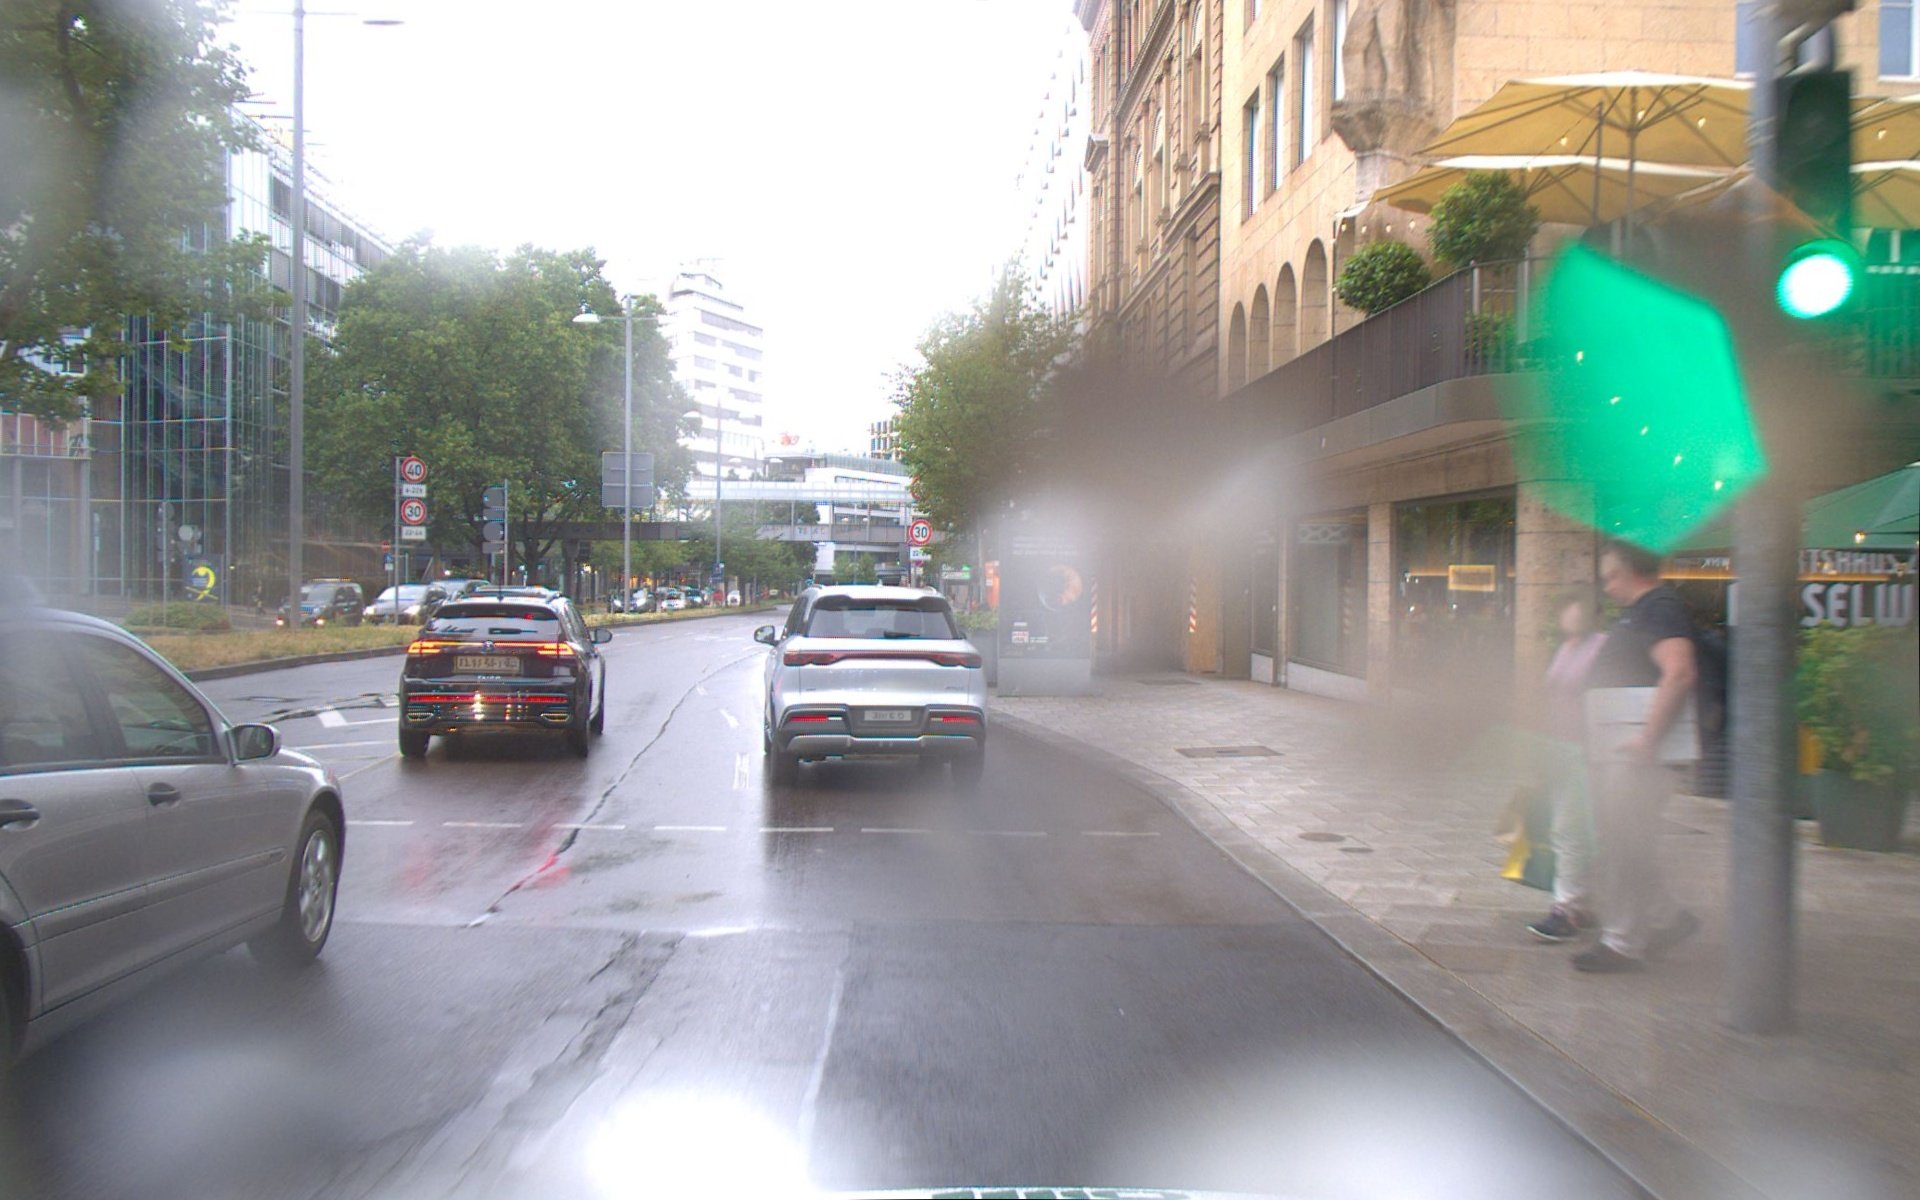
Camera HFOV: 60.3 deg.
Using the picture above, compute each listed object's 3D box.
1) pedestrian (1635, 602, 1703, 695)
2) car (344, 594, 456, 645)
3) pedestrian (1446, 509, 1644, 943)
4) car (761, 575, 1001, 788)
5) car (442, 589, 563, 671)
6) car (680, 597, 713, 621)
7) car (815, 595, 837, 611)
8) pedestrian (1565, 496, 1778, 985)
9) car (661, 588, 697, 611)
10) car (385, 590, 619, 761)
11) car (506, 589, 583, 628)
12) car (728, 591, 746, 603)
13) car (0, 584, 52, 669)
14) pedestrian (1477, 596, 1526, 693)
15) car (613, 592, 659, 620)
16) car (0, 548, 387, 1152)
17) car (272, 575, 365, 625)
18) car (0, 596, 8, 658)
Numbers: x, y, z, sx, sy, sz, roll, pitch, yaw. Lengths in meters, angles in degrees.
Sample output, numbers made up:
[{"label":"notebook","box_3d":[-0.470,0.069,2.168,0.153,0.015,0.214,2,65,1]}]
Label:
[{"label":"pedestrian","box_3d":[8.421,0.566,19.658,0.543,1.074,0.545,2,0,0]},{"label":"car","box_3d":[-16.132,0.563,47.830,1.711,1.388,3.945,1,-1,3]},{"label":"pedestrian","box_3d":[2.659,0.548,7.540,0.583,1.867,0.623,1,-1,-29]},{"label":"car","box_3d":[-0.827,0.666,14.937,1.865,1.650,3.994,1,-1,-6]},{"label":"car","box_3d":[-9.664,0.590,35.208,1.776,1.606,3.995,1,0,-6]},{"label":"car","box_3d":[-19.405,0.706,121.836,1.836,1.710,4.678,1,-1,-2]},{"label":"car","box_3d":[-11.730,0.226,145.340,1.620,1.365,3.999,1,0,-1]},{"label":"pedestrian","box_3d":[2.836,0.540,6.635,0.619,1.867,0.563,1,-1,2]},{"label":"car","box_3d":[-18.110,-0.008,106.712,1.564,1.384,4.116,1,-1,0]},{"label":"car","box_3d":[-4.414,0.687,16.496,1.741,1.482,3.992,1,-1,-8]},{"label":"car","box_3d":[-16.283,0.354,65.040,1.822,1.467,4.313,1,-1,1]},{"label":"car","box_3d":[-26.628,-0.340,197.796,1.564,1.384,4.116,1,-1,0]},{"label":"car","box_3d":[-16.593,0.418,26.487,1.711,1.388,4.131,1,-1,1]},{"label":"pedestrian","box_3d":[6.206,0.502,18.960,0.323,1.092,0.479,1,0,-11]},{"label":"car","box_3d":[-17.355,0.349,88.625,1.666,1.462,4.580,1,-1,-2]},{"label":"car","box_3d":[-3.242,0.603,5.035,1.639,1.505,4.358,1,0,-3]},{"label":"car","box_3d":[-22.295,0.012,57.639,1.794,1.668,4.089,1,-1,-3]},{"label":"car","box_3d":[-22.683,0.581,35.667,1.711,1.388,4.175,1,-1,3]}]
